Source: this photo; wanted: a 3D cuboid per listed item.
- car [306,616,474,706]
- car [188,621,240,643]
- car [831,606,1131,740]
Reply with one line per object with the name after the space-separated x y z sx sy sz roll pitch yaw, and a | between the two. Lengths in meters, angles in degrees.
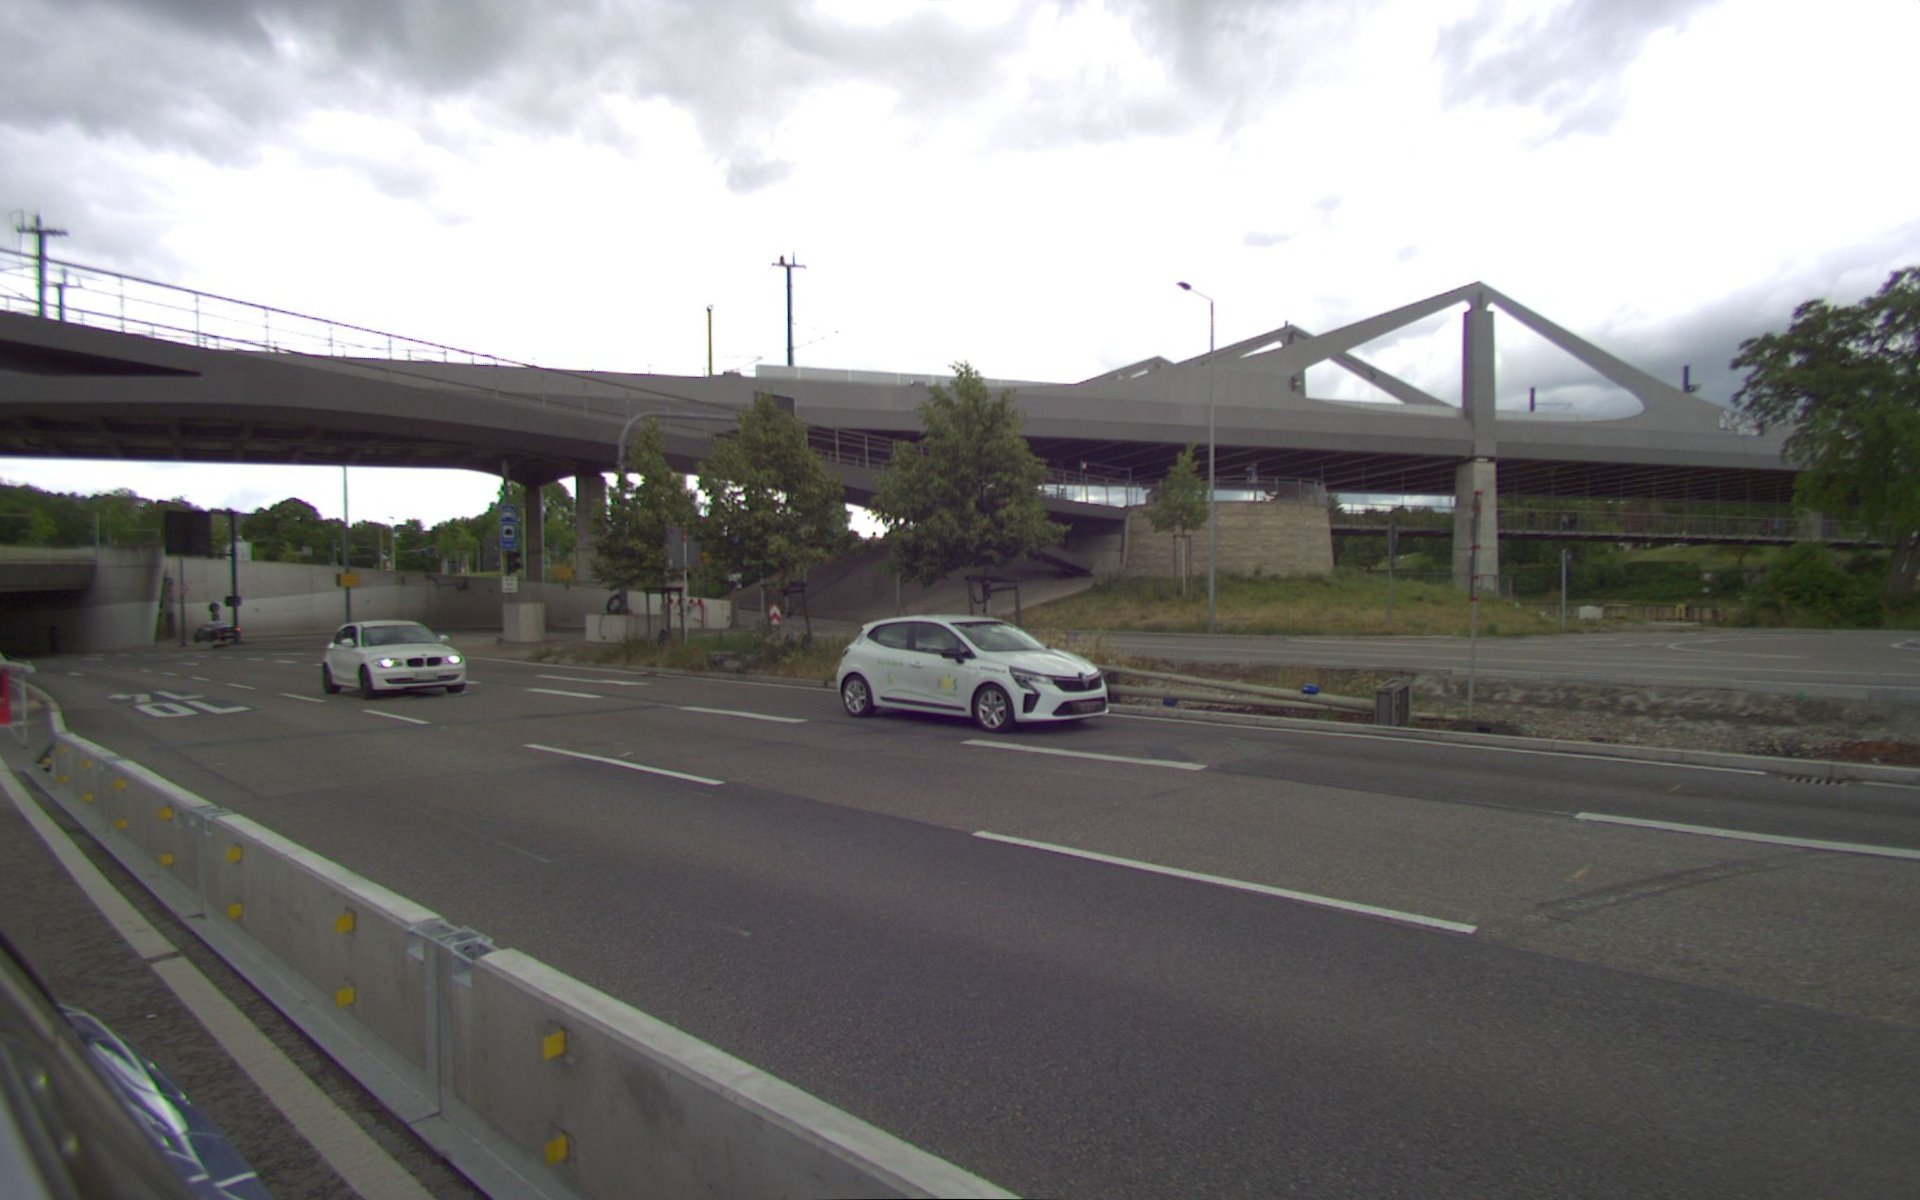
-11.149 1.107 19.678 3.981 1.443 1.621 0 2 42 | car
-53.013 2.250 71.907 4.608 1.489 1.772 -1 0 37 | car
0.156 0.872 13.526 3.998 1.495 1.558 -1 0 44 | car
